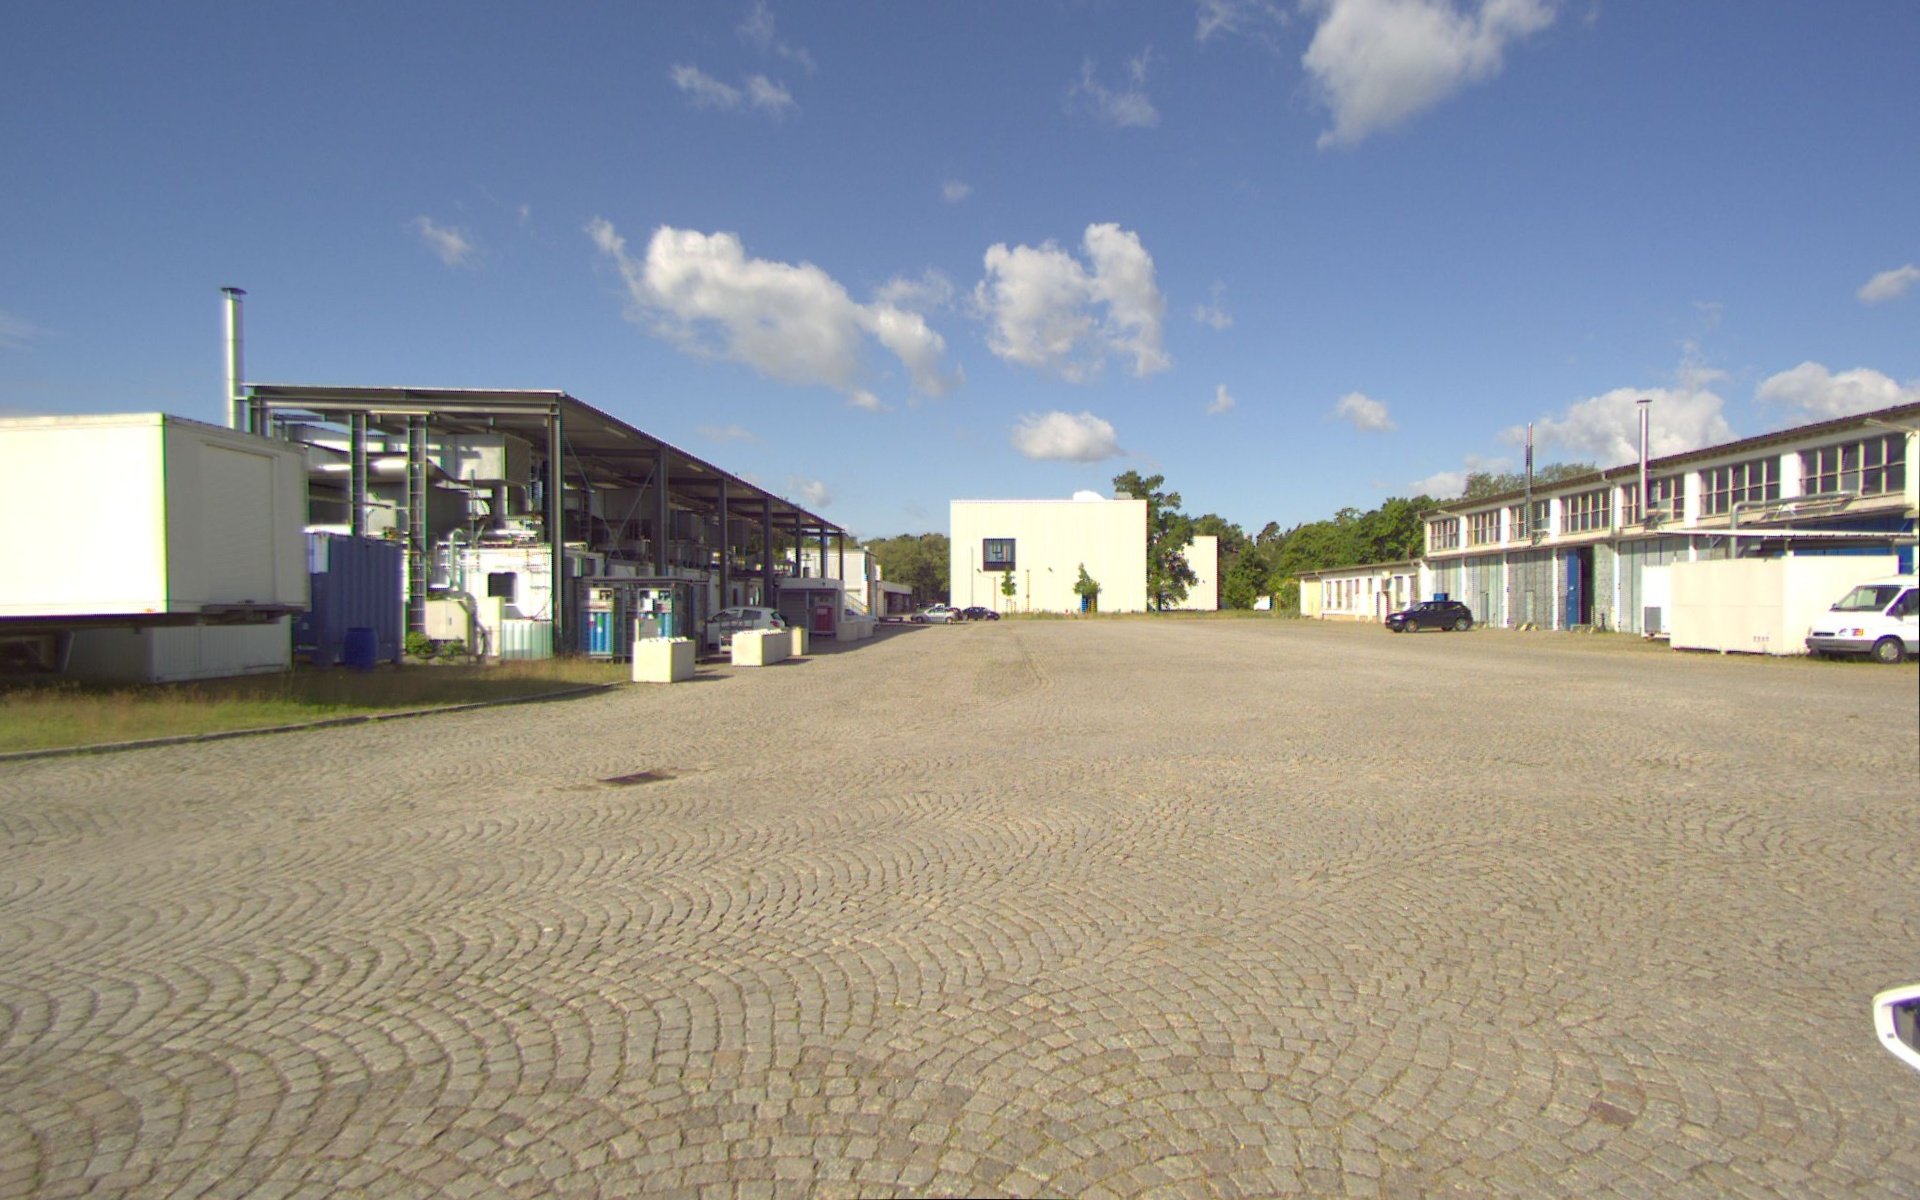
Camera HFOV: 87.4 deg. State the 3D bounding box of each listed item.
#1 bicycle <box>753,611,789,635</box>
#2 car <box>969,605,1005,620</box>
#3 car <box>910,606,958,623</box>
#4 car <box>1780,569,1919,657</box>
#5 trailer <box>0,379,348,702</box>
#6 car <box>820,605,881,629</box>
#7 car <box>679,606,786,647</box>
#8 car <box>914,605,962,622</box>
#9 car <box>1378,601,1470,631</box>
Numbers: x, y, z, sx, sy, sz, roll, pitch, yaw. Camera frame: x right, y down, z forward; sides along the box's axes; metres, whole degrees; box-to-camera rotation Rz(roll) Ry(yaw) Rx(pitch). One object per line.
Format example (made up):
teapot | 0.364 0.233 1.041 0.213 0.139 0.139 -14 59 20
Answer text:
bicycle | -9.174 1.134 48.778 1.638 1.152 0.485 0 0 1
car | 2.706 1.282 102.016 1.722 1.448 4.039 0 0 -32
car | -2.268 1.254 87.297 4.105 1.422 1.741 0 0 1
car | 23.684 0.321 25.048 4.708 2.109 2.011 0 0 5
trailer | -14.613 -0.699 14.059 10.667 3.963 2.782 0 0 4
car | -6.822 1.059 62.823 3.625 1.427 1.675 0 0 -1
car | -7.940 0.901 35.250 3.405 1.394 1.611 0 0 -1
car | -1.930 1.192 90.527 4.272 1.489 1.741 0 0 1
car | 24.291 0.816 52.624 3.996 1.489 1.741 -1 0 0
